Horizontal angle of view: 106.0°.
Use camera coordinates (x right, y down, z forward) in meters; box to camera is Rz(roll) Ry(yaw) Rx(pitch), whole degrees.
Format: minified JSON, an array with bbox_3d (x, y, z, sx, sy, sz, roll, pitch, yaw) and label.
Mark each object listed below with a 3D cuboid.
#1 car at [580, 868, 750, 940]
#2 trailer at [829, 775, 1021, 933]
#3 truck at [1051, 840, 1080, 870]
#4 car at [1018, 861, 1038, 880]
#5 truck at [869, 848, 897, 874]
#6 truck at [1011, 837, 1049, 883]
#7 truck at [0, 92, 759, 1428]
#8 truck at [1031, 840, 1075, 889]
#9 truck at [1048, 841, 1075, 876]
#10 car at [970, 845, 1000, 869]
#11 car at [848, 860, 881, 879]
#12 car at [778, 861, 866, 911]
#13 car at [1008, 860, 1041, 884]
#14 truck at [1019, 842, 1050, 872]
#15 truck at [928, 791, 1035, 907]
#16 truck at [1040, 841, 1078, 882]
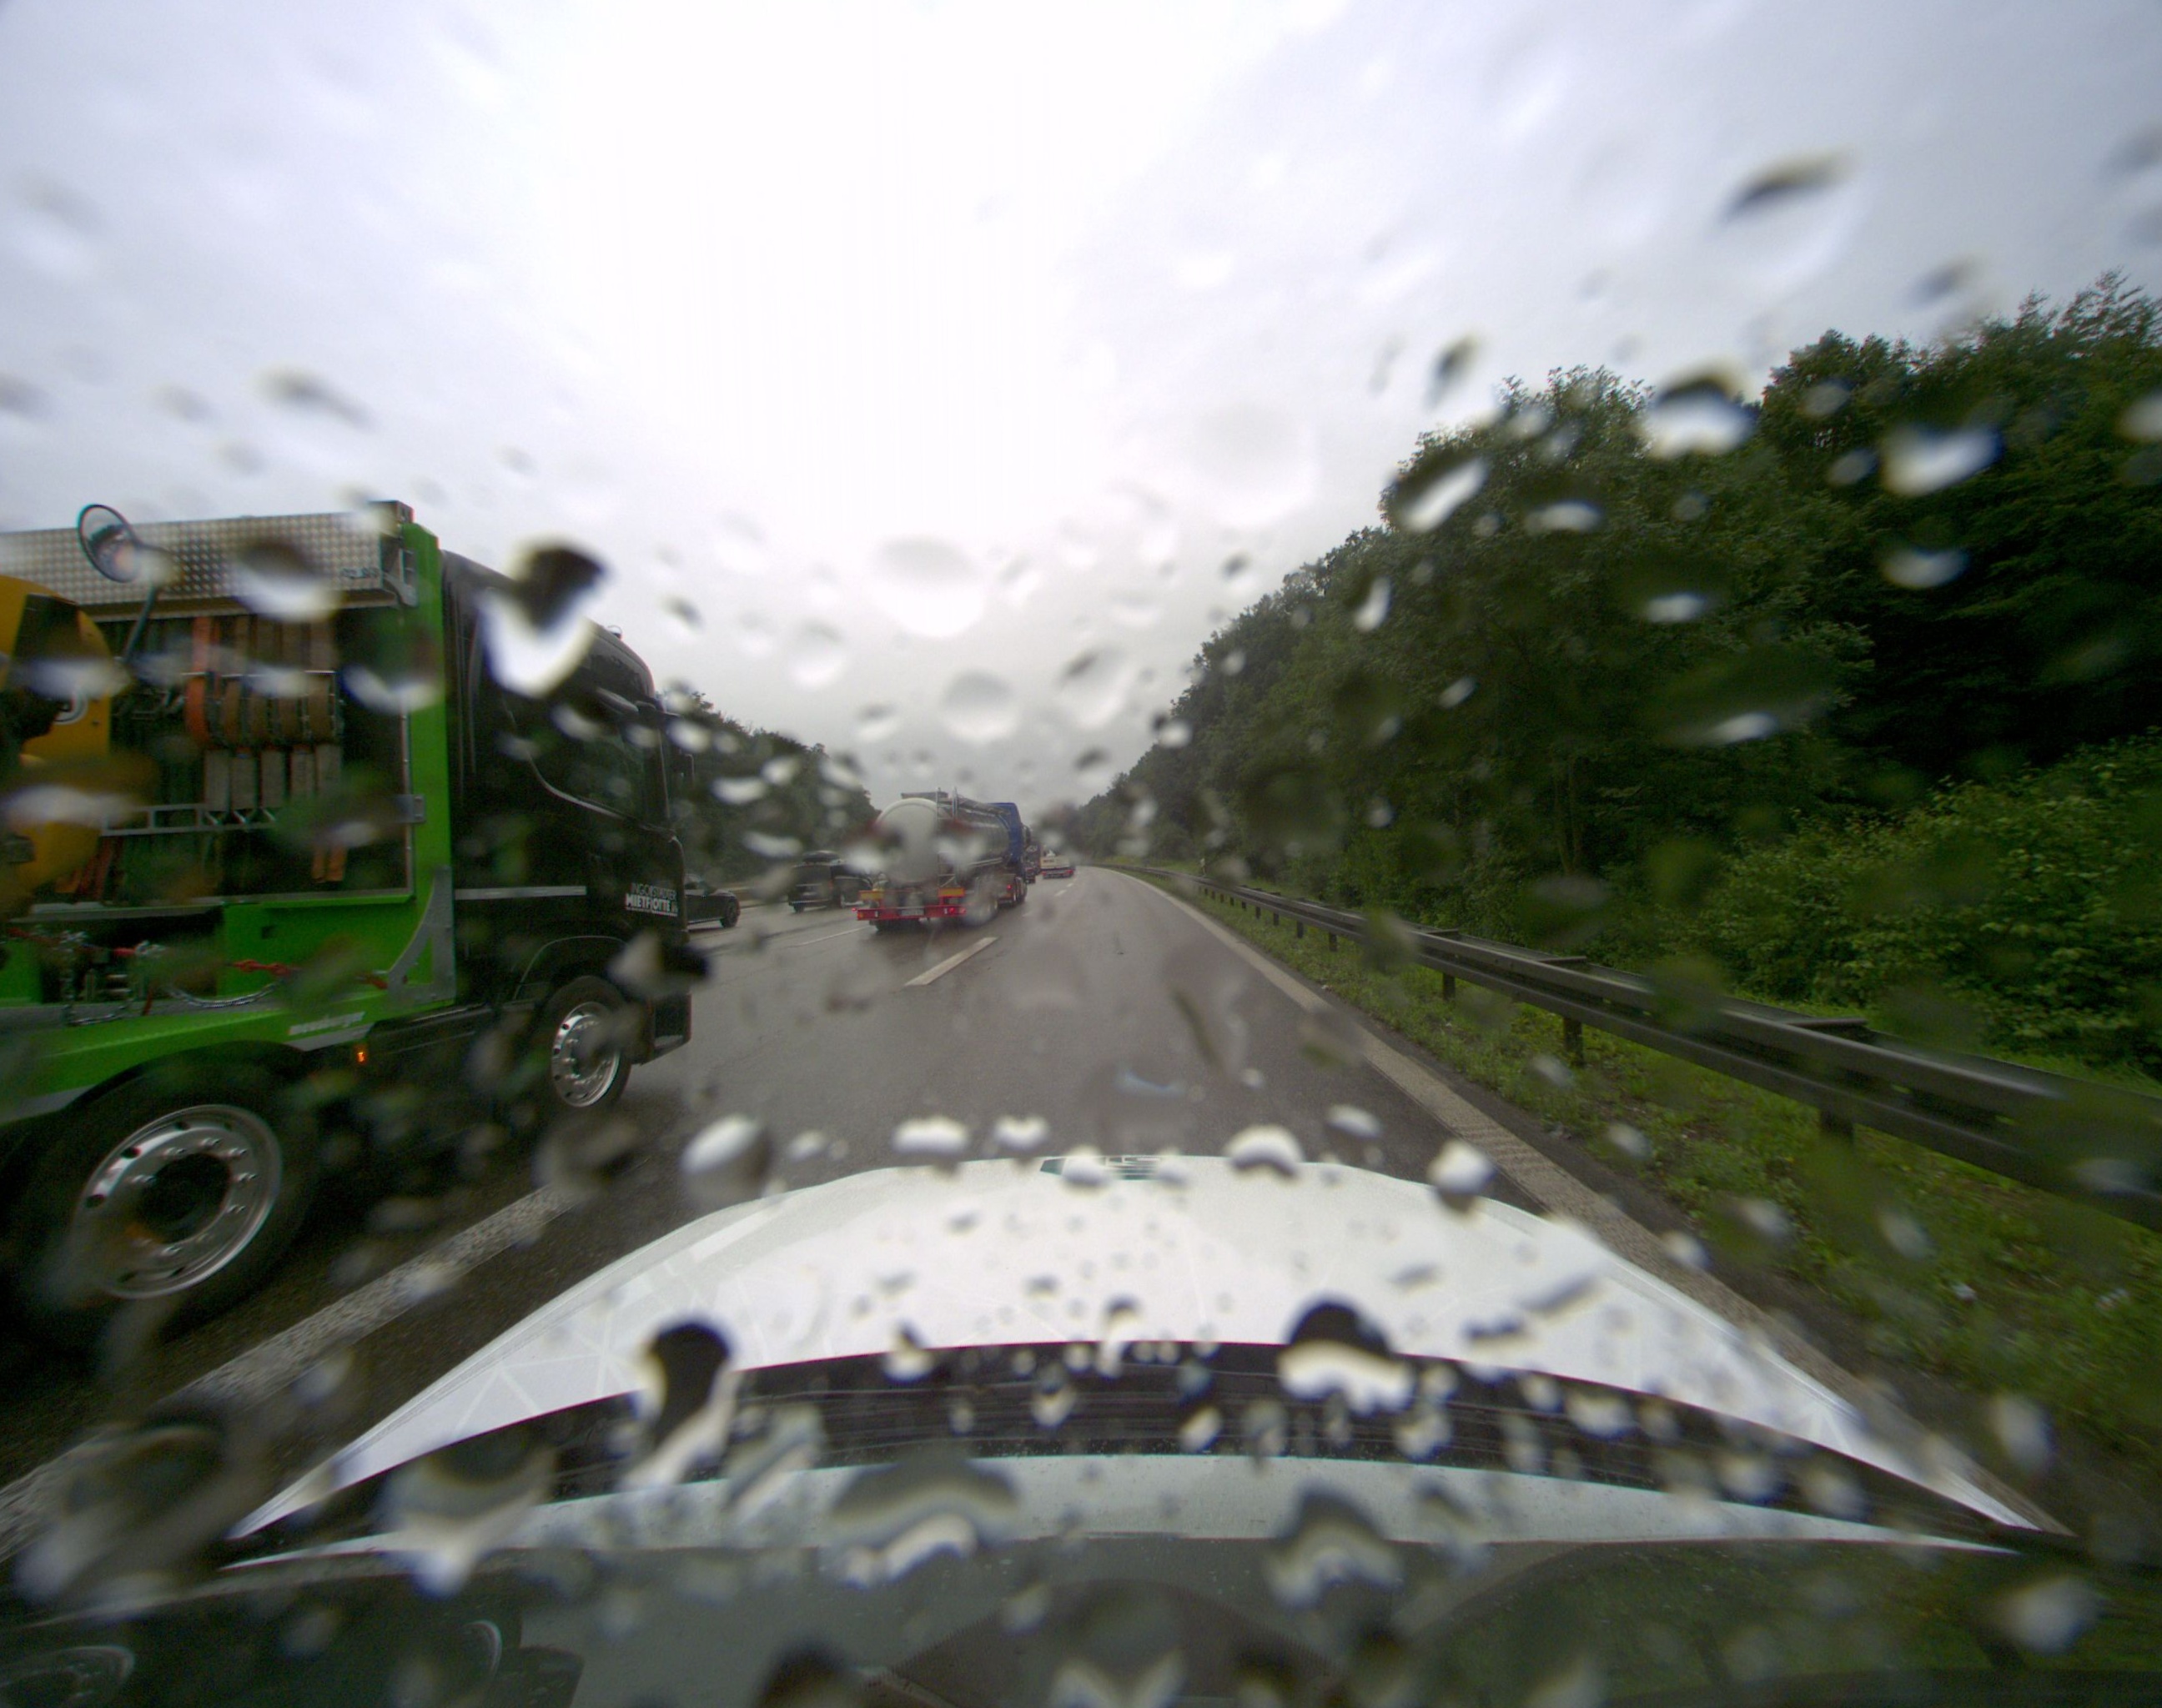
[{"bbox_3d":[-11.049,1.250,22.116,1.986,1.594,4.809,-3,0,2],"label":"car"},{"bbox_3d":[-3.714,0.025,22.511,2.862,3.289,10.083,-2,0,2],"label":"trailer"},{"bbox_3d":[-2.192,0.200,120.092,3.741,3.971,11.059,1,-2,1],"label":"truck"},{"bbox_3d":[-5.802,1.892,90.037,1.786,2.014,4.001,1,-2,2],"label":"car"},{"bbox_3d":[-31.055,1.125,127.954,2.441,3.948,7.241,-1,0,2],"label":"truck"},{"bbox_3d":[-6.349,0.854,103.699,3.740,5.500,10.175,1,-2,2],"label":"truck"},{"bbox_3d":[-4.404,-0.252,0.566,2.819,3.589,11.808,-3,-1,4],"label":"truck"},{"bbox_3d":[-2.458,0.978,76.212,3.589,4.105,11.557,-2,0,0],"label":"truck"},{"bbox_3d":[-3.331,0.890,141.270,4.323,5.765,9.725,1,-2,-1],"label":"truck"},{"bbox_3d":[-7.910,0.291,67.404,1.790,1.838,4.001,1,-2,2],"label":"car"},{"bbox_3d":[-23.826,1.746,89.936,2.044,1.878,5.249,1,-2,2],"label":"car"},{"bbox_3d":[-10.170,1.206,32.338,1.986,1.798,4.155,-2,-1,1],"label":"car"},{"bbox_3d":[-4.055,1.307,58.925,1.986,1.636,4.000,1,-2,1],"label":"car"},{"bbox_3d":[-6.780,0.549,120.227,3.563,4.096,10.881,-2,-2,2],"label":"truck"},{"bbox_3d":[-3.435,-0.143,29.336,2.865,3.693,5.059,-2,0,2],"label":"truck"},{"bbox_3d":[-2.346,0.990,92.167,3.493,4.269,10.608,1,-2,3],"label":"truck"}]
